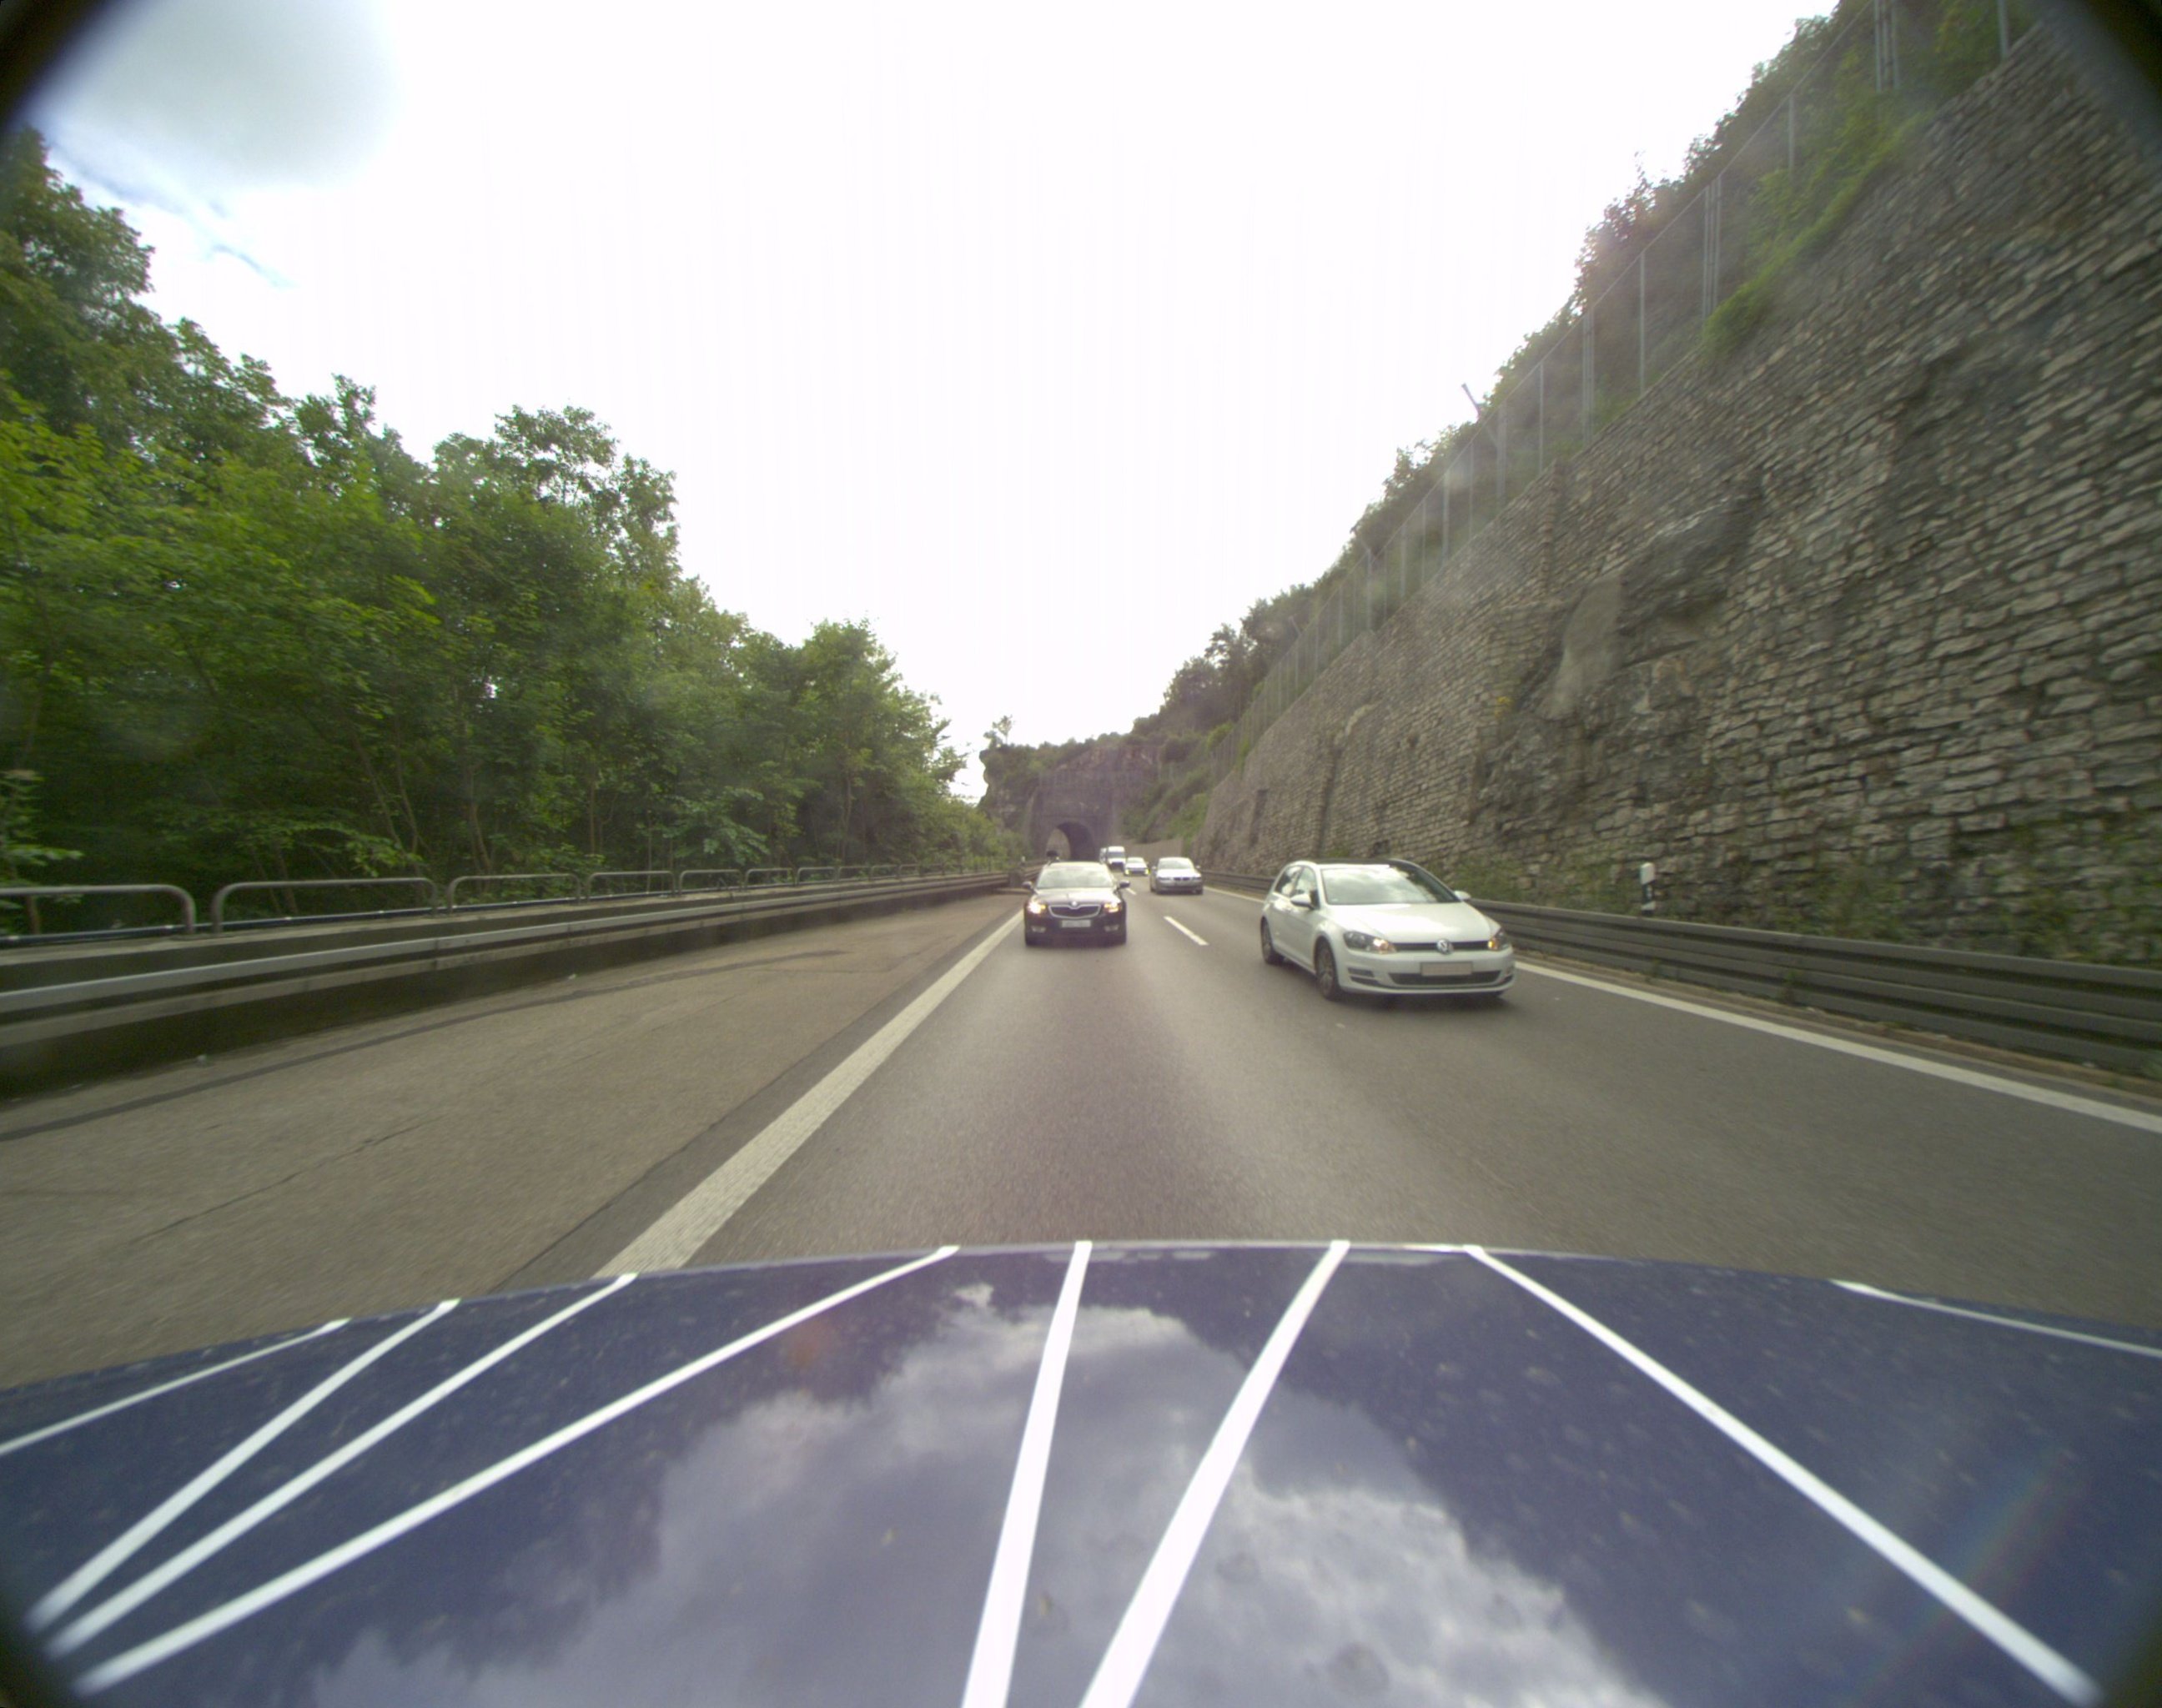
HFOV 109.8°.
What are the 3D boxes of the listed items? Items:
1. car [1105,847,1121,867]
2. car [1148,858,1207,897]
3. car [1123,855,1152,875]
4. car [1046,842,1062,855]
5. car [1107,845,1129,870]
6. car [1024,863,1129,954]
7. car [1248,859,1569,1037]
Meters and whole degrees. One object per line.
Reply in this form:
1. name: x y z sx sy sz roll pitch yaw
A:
1. car: 4.054 0.342 96.414 1.868 2.444 4.983 -1 2 2
2. car: 3.919 0.898 31.630 1.832 1.448 5.135 -1 0 0
3. car: 4.517 0.865 61.187 1.923 1.452 4.230 -1 0 -1
4. car: -5.309 -1.033 149.201 2.675 2.408 6.118 -1 0 -5
5. car: 3.807 0.297 79.208 1.869 2.444 4.981 -2 2 -2
6. car: -0.037 0.908 14.577 1.677 1.418 4.473 -1 0 1
7. car: 3.358 0.842 8.943 1.849 1.473 4.627 0 1 1
